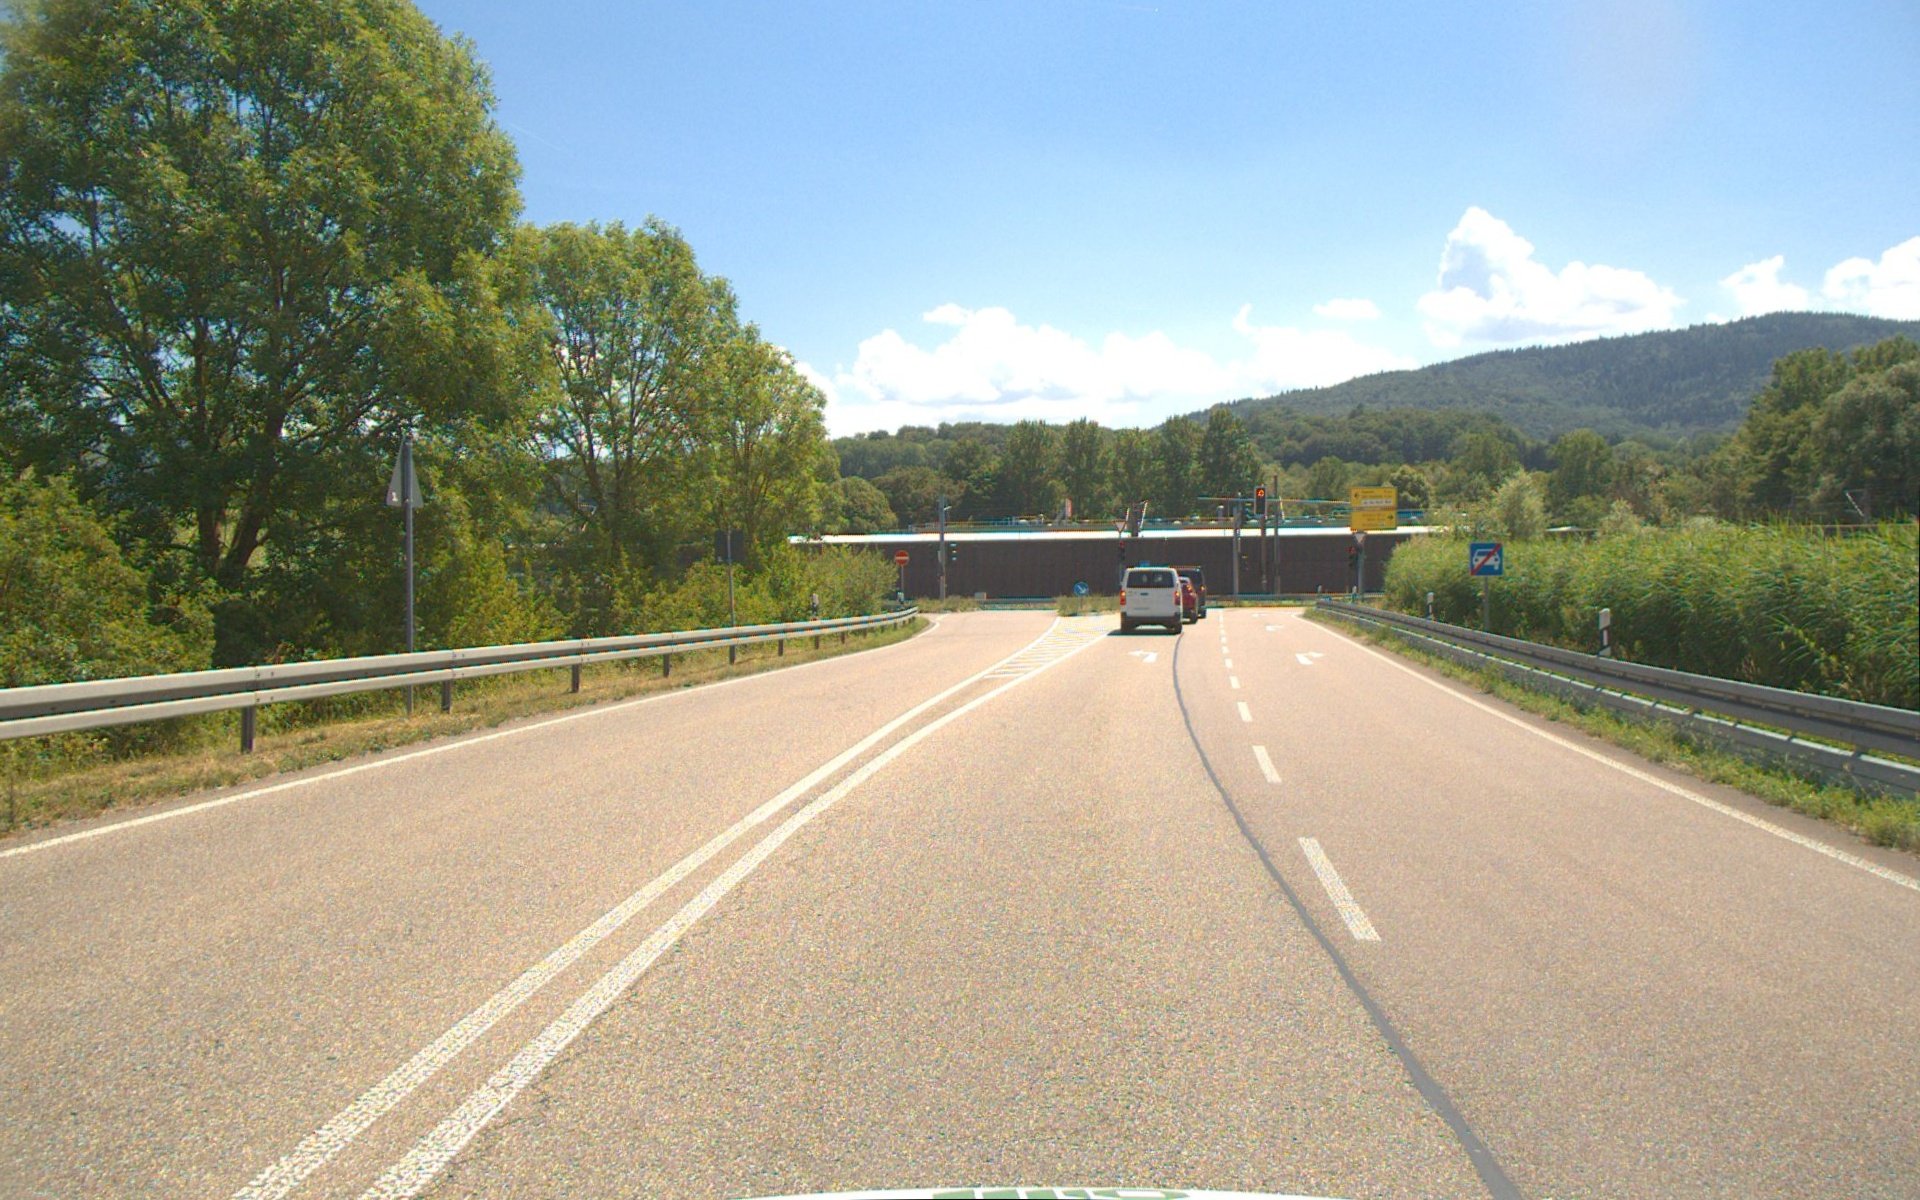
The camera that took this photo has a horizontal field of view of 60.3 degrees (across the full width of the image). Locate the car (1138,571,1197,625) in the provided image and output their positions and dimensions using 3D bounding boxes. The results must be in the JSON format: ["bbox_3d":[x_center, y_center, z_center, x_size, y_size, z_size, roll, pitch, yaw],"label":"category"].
[{"bbox_3d":[7.611,-0.090,60.306,1.951,1.844,4.004,-2,0,9],"label":"car"}]

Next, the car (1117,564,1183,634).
[{"bbox_3d":[5.773,-0.047,49.963,1.830,1.999,4.004,0,0,8],"label":"car"}]

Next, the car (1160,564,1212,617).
[{"bbox_3d":[9.287,-0.394,67.685,1.951,2.048,4.004,-2,0,9],"label":"car"}]
